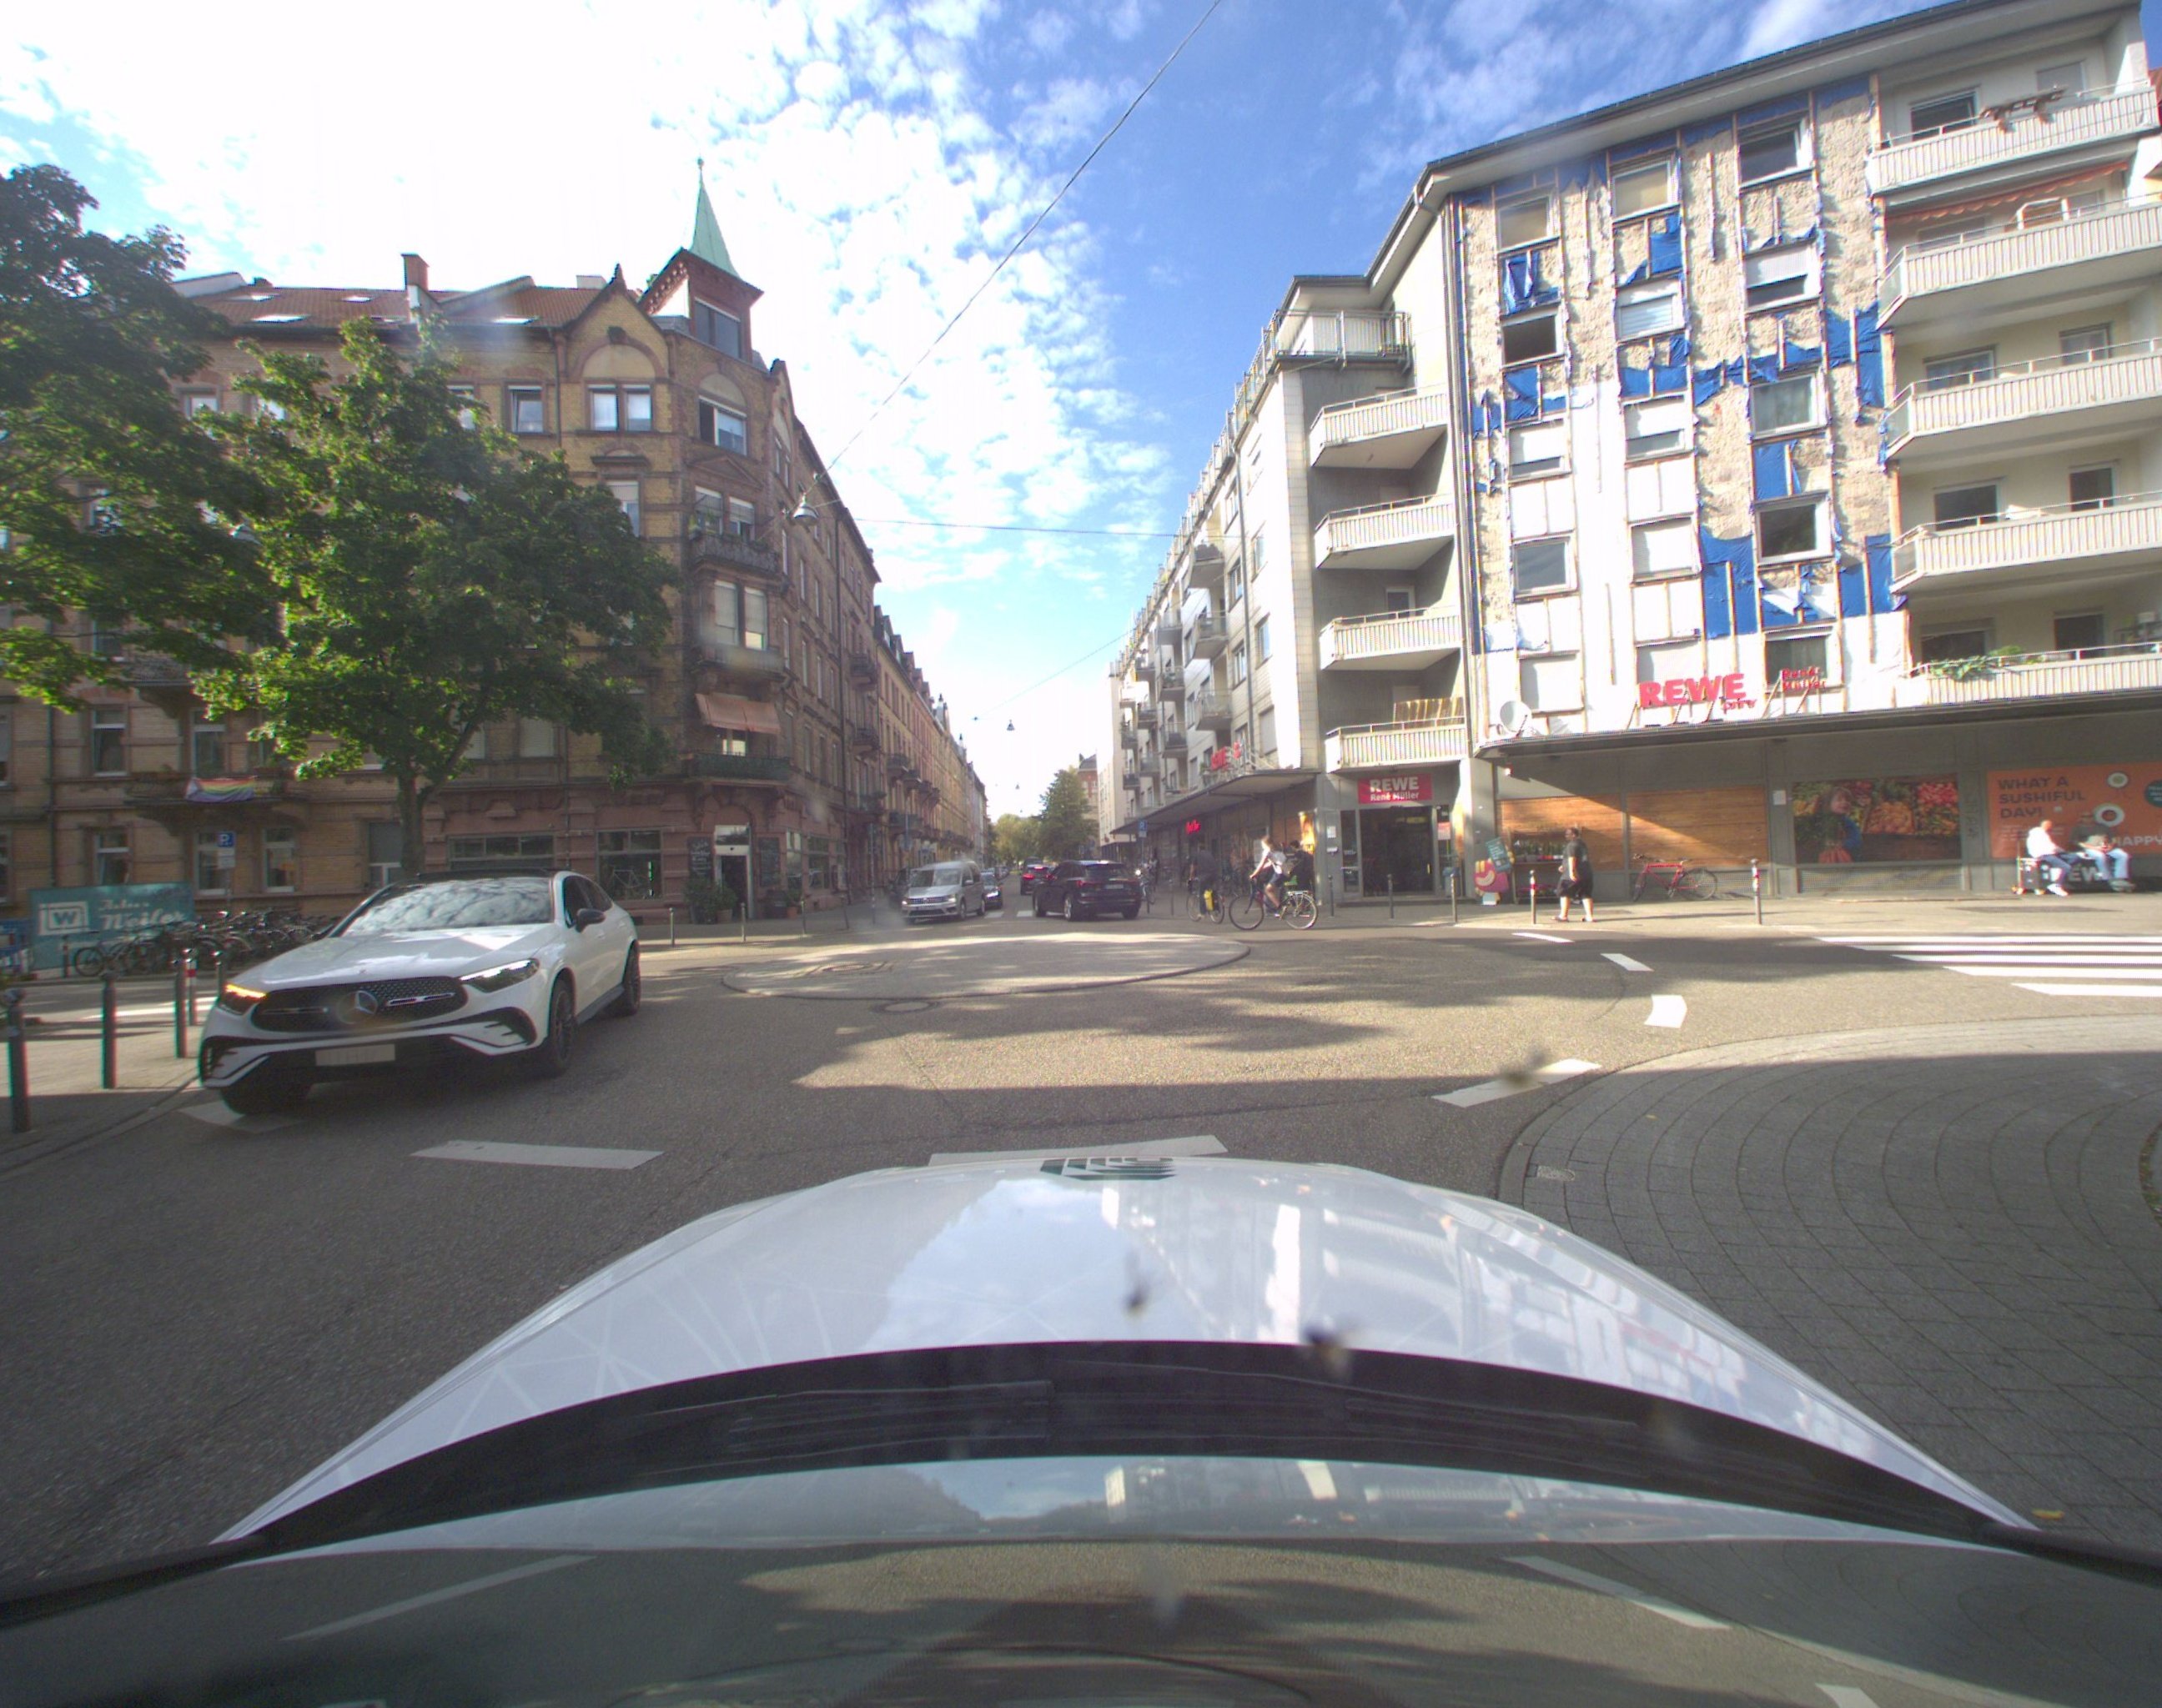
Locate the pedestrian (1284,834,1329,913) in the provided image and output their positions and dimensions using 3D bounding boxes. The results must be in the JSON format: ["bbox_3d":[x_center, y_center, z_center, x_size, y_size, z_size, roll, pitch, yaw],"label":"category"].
[{"bbox_3d":[5.471,0.463,19.775,0.866,1.851,0.612,-2,-1,1],"label":"pedestrian"}]

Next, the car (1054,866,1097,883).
[{"bbox_3d":[-0.591,2.010,80.343,3.982,1.486,1.996,-3,-1,-6],"label":"car"}]

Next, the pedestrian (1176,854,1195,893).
[{"bbox_3d":[4.463,0.820,34.707,0.741,1.629,0.814,-3,-1,7],"label":"pedestrian"}]

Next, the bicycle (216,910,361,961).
[{"bbox_3d":[-20.849,2.131,21.470,2.894,1.123,0.631,-3,-1,-8],"label":"bicycle"}]

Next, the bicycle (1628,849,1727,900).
[{"bbox_3d":[12.924,0.459,17.692,1.663,1.050,0.461,-3,-1,36],"label":"bicycle"}]

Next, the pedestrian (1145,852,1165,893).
[{"bbox_3d":[3.501,0.856,38.449,0.725,1.864,1.066,-3,-1,11],"label":"pedestrian"}]

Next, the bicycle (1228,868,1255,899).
[{"bbox_3d":[5.515,0.998,28.084,0.363,1.016,1.425,-2,-1,-12],"label":"bicycle"}]

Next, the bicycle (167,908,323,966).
[{"bbox_3d":[-20.628,2.037,20.141,2.894,1.190,0.631,-3,-1,-8],"label":"bicycle"}]

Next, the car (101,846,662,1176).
[{"bbox_3d":[-5.231,0.893,7.141,1.949,1.722,4.819,-4,1,-19],"label":"car"}]

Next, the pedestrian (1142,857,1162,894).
[{"bbox_3d":[3.166,0.953,36.092,0.725,1.611,0.792,-3,-1,11],"label":"pedestrian"}]

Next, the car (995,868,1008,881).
[{"bbox_3d":[-13.117,3.343,134.133,1.990,2.014,3.994,-2,-1,-4],"label":"car"}]

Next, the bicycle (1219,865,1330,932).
[{"bbox_3d":[3.748,0.864,15.763,1.952,1.199,0.716,-3,-1,20],"label":"bicycle"}]

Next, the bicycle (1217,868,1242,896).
[{"bbox_3d":[5.526,1.037,30.446,0.360,0.999,1.711,-2,-1,-8],"label":"bicycle"}]

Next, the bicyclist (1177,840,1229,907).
[{"bbox_3d":[2.823,0.443,18.829,0.936,1.484,0.742,-1,-1,-18],"label":"bicyclist"}]

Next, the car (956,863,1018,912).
[{"bbox_3d":[-3.693,1.282,32.890,1.922,1.724,4.733,-4,-1,-1],"label":"car"}]

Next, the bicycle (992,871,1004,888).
[{"bbox_3d":[-7.347,2.264,72.320,0.925,1.489,3.454,0,-1,-8],"label":"bicycle"}]

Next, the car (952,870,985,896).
[{"bbox_3d":[-8.831,2.243,64.176,1.922,1.724,4.286,-4,1,-1],"label":"car"}]

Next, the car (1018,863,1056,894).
[{"bbox_3d":[-2.527,1.360,46.048,1.990,1.618,3.994,-2,-1,-4],"label":"car"}]

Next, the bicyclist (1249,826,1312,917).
[{"bbox_3d":[3.859,0.343,15.709,1.004,1.668,0.948,-3,-1,20],"label":"bicyclist"}]

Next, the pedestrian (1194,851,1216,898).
[{"bbox_3d":[4.659,0.777,30.673,0.736,1.712,0.735,-3,-1,7],"label":"pedestrian"}]

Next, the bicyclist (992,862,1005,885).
[{"bbox_3d":[-7.357,1.734,72.275,1.132,1.998,1.025,0,-2,-8],"label":"bicyclist"}]

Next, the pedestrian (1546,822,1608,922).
[{"bbox_3d":[8.924,0.321,14.690,0.625,1.739,0.777,-3,-1,8],"label":"pedestrian"}]

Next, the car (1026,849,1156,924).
[{"bbox_3d":[0.133,0.823,22.734,2.042,1.724,4.814,-4,1,-19],"label":"car"}]

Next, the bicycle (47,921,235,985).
[{"bbox_3d":[-20.535,2.147,17.846,2.894,1.123,0.724,-3,-1,-8],"label":"bicycle"}]

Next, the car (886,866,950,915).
[{"bbox_3d":[-6.603,1.447,33.517,1.777,1.724,4.443,-1,1,-1],"label":"car"}]

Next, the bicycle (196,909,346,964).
[{"bbox_3d":[-20.711,2.098,20.870,2.894,1.197,0.631,-3,-1,-8],"label":"bicycle"}]

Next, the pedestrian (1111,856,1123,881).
[{"bbox_3d":[3.034,1.239,68.698,0.898,2.014,0.734,-3,-1,-3],"label":"pedestrian"}]

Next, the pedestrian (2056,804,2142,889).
[{"bbox_3d":[19.220,-0.134,15.398,0.740,1.550,0.735,-1,0,22],"label":"pedestrian"}]

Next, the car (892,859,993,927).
[{"bbox_3d":[-4.107,1.113,25.009,1.784,1.790,4.743,-4,-1,5],"label":"car"}]

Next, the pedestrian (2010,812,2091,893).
[{"bbox_3d":[18.445,-0.018,15.511,0.744,1.480,0.590,-3,-1,21],"label":"pedestrian"}]

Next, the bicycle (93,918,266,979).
[{"bbox_3d":[-20.471,2.135,18.541,2.894,1.123,0.631,-3,-1,-8],"label":"bicycle"}]

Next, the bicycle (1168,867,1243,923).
[{"bbox_3d":[2.837,0.916,18.892,0.667,1.178,2.482,-1,-1,-17],"label":"bicycle"}]

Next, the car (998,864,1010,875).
[{"bbox_3d":[-14.516,2.846,153.213,1.990,2.014,3.994,-2,-1,-4],"label":"car"}]

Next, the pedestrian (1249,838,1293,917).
[{"bbox_3d":[4.602,0.566,19.791,0.866,1.851,0.612,-2,-1,1],"label":"pedestrian"}]

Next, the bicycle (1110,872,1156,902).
[{"bbox_3d":[2.045,1.274,31.655,1.800,1.027,0.673,-2,-1,-42],"label":"bicycle"}]

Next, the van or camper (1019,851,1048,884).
[{"bbox_3d":[-4.755,1.314,80.491,2.528,3.037,4.449,-2,-1,-6],"label":"van or camper"}]

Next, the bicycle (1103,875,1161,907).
[{"bbox_3d":[1.825,1.315,29.092,1.995,1.045,0.531,-3,-1,-2],"label":"bicycle"}]

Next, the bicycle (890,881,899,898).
[{"bbox_3d":[-11.072,2.118,48.325,0.360,0.947,1.710,-1,-1,-8],"label":"bicycle"}]

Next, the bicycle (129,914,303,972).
[{"bbox_3d":[-20.513,2.093,19.361,3.094,1.123,0.631,-3,-1,-8],"label":"bicycle"}]
